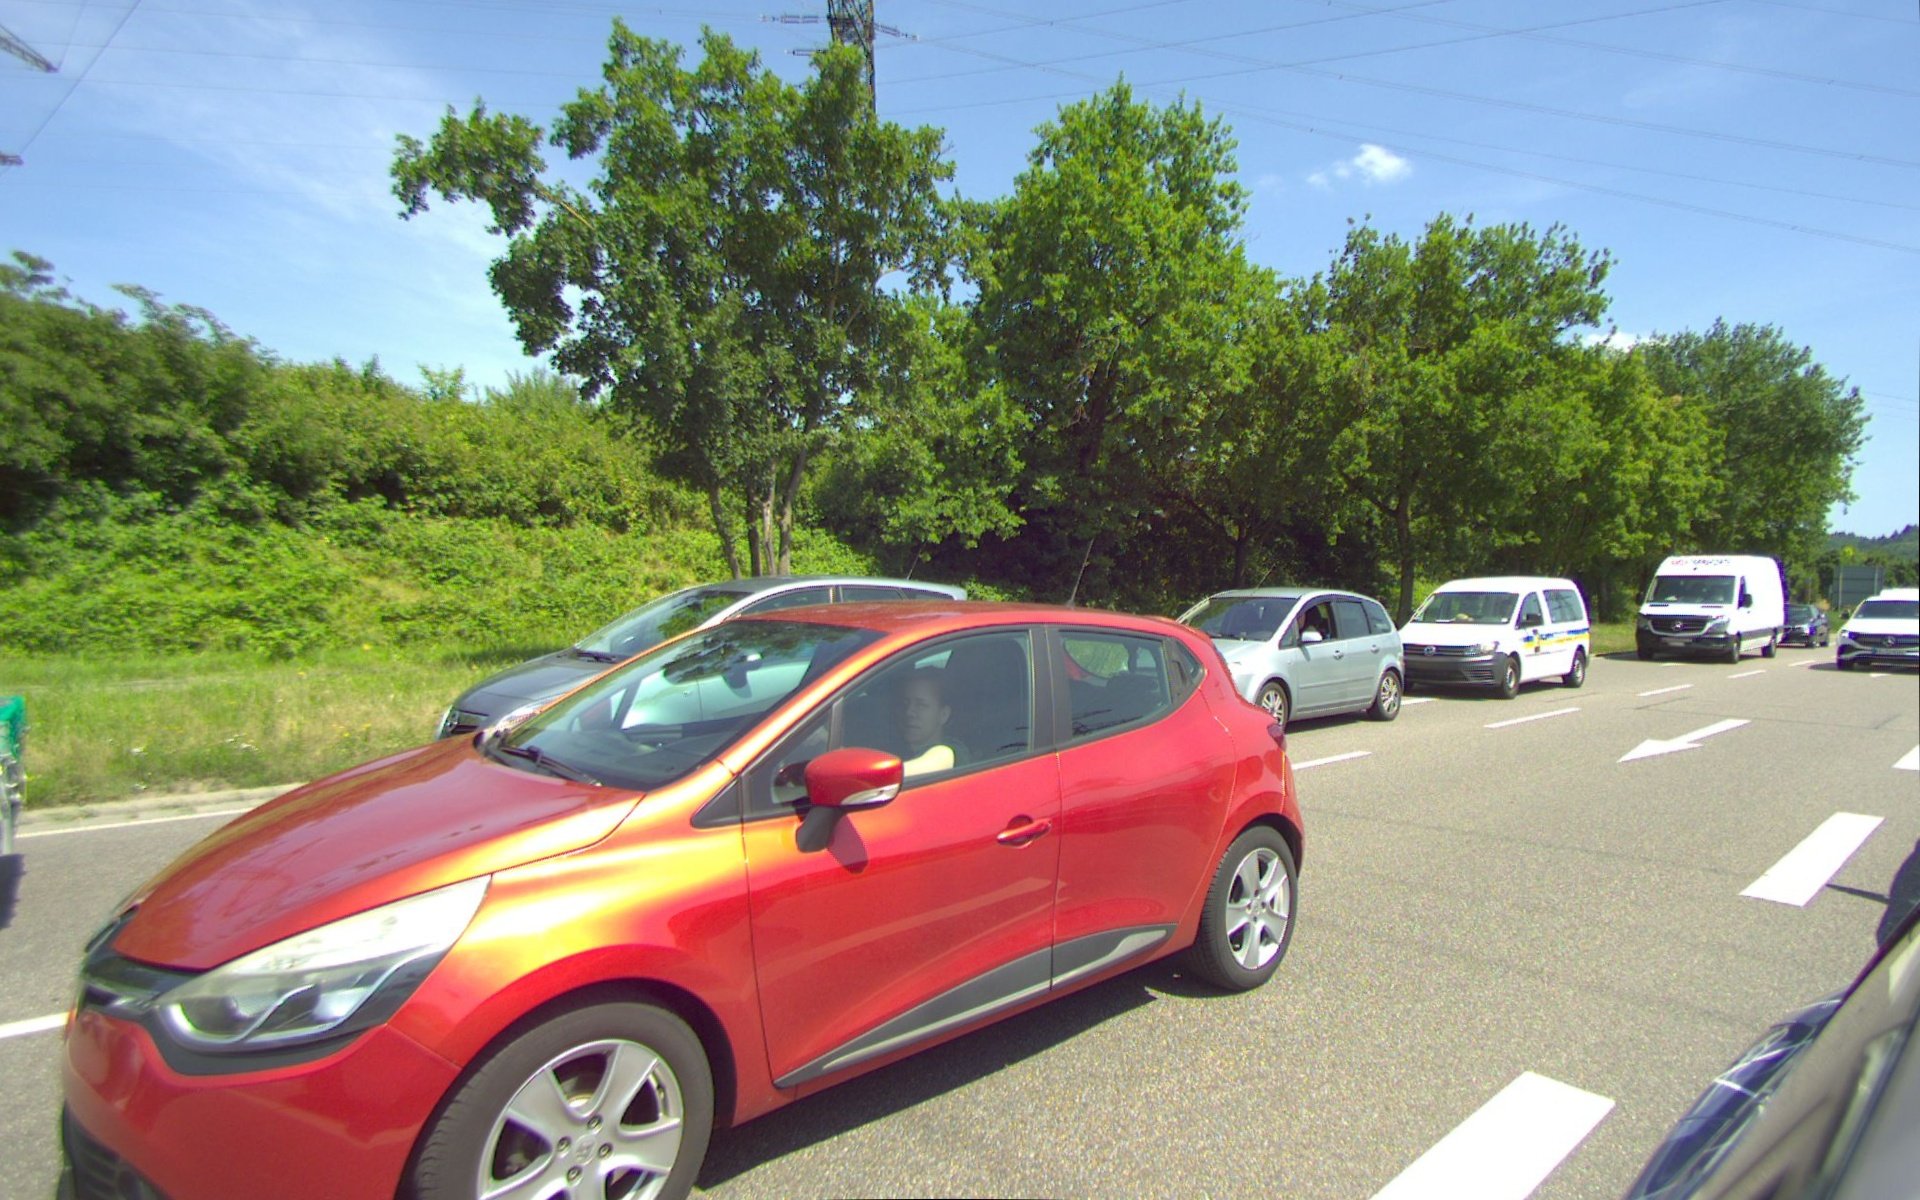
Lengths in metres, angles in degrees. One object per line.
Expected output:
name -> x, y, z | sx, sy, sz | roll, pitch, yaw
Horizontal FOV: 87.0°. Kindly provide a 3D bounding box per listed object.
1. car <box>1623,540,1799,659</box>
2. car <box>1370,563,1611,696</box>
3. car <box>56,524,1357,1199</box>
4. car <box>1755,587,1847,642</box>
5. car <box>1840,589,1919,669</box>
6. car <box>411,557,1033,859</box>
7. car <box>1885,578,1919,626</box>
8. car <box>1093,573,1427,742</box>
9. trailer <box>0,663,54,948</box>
car -> 19.145, -0.024, 25.640 | 6.897, 2.640, 2.230 | 0, 0, -42
car -> 8.627, 0.398, 16.243 | 4.950, 1.823, 1.807 | 0, 0, -42
car -> -0.430, 0.620, 3.515 | 3.994, 1.480, 1.746 | 0, 0, -41
car -> 27.779, 0.427, 33.402 | 3.933, 1.705, 1.875 | -1, 1, -43
car -> 20.586, 0.575, 21.830 | 4.287, 1.588, 1.849 | 0, 0, -41
car -> -1.545, 0.556, 7.429 | 4.092, 1.615, 1.768 | 0, 1, -41
car -> 51.008, 0.115, 53.618 | 5.712, 2.453, 2.306 | 0, 0, -41
car -> 3.590, 0.542, 11.713 | 4.197, 1.614, 1.746 | 0, 0, -41
trailer -> -5.475, 0.850, 3.629 | 3.266, 1.019, 1.709 | 0, 0, -41
